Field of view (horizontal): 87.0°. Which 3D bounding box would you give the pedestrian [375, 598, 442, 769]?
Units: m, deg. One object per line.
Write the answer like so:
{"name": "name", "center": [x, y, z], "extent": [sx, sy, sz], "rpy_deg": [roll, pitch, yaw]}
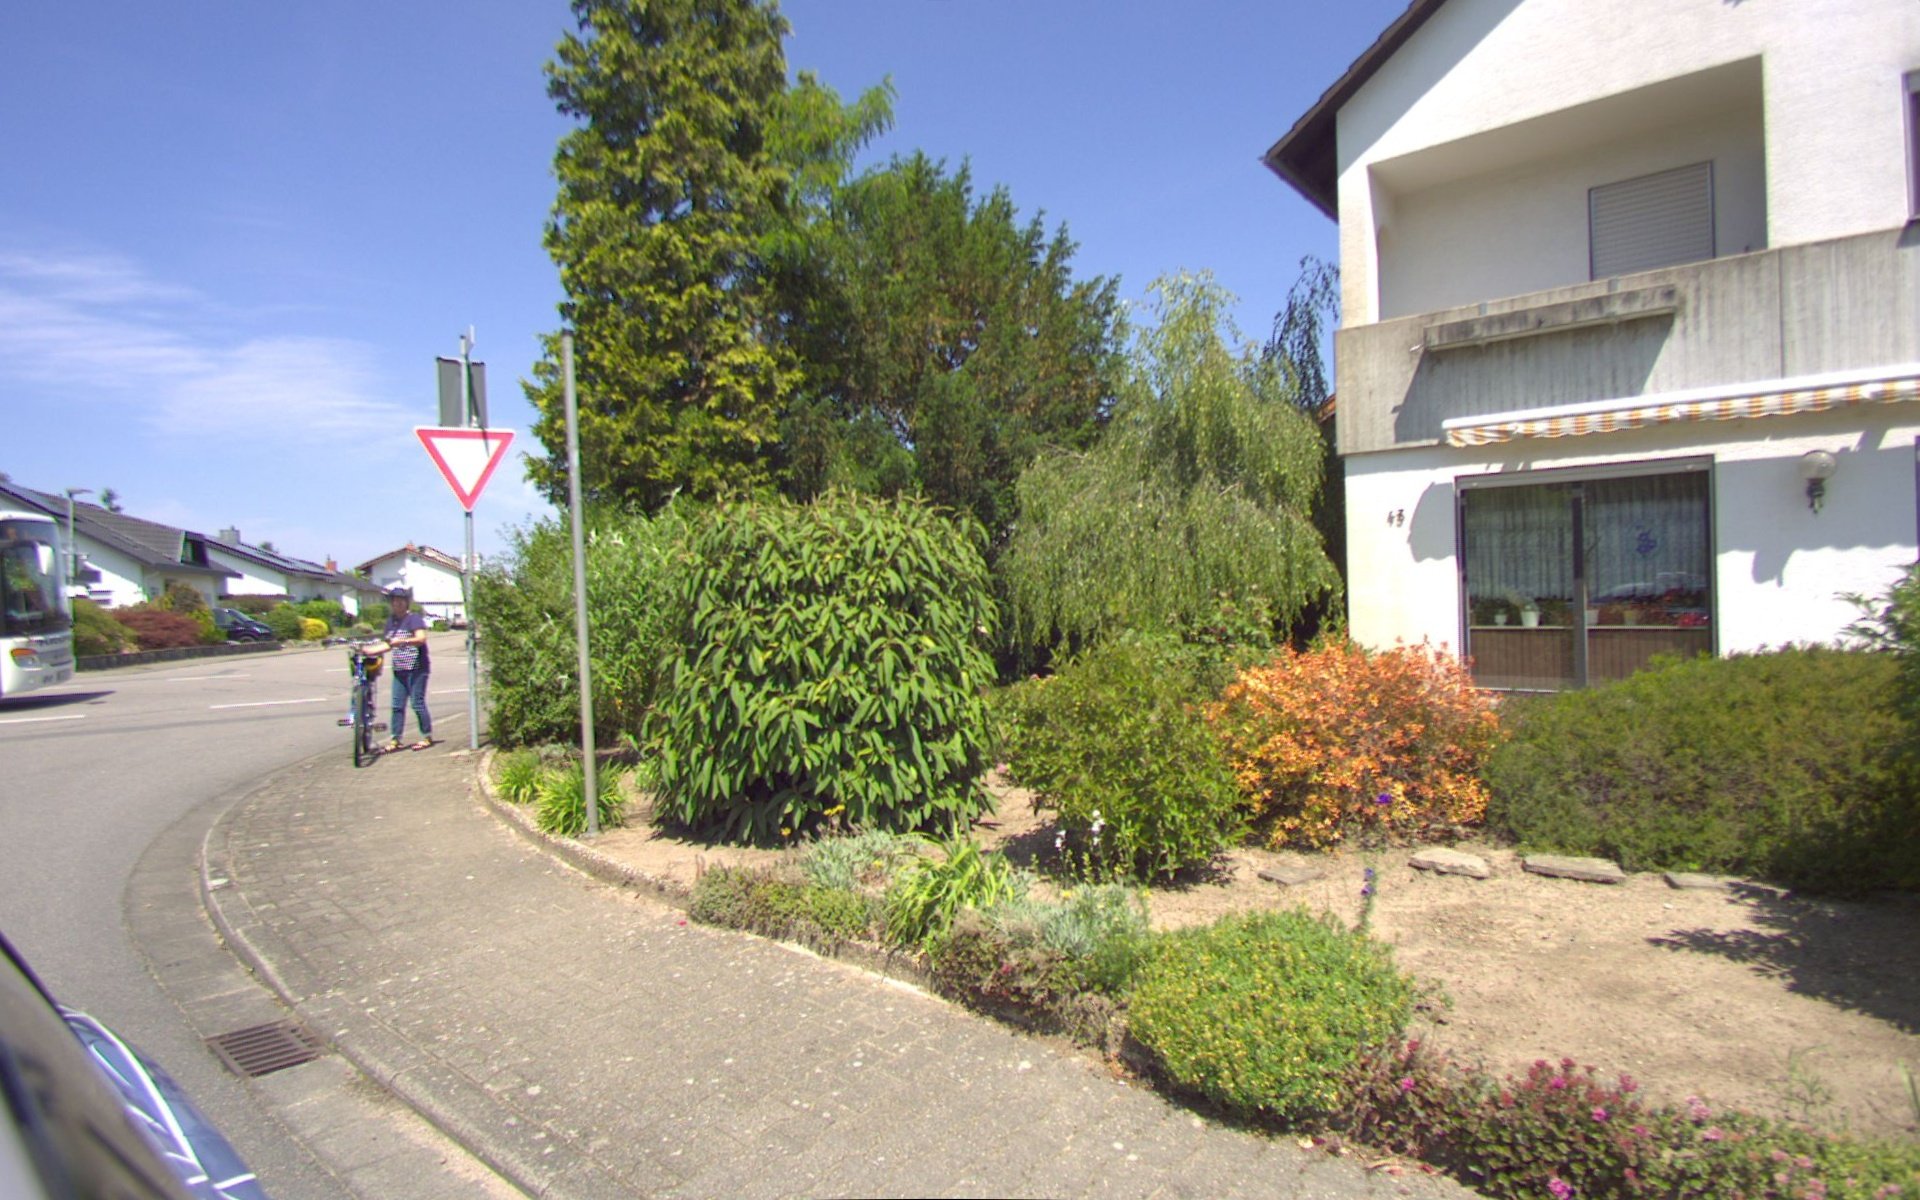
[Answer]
{"name": "pedestrian", "center": [-5.152, 0.752, 9.449], "extent": [0.496, 1.512, 0.614], "rpy_deg": [-2, 0, -30]}

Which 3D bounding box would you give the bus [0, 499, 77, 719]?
{"name": "bus", "center": [-20.476, 0.345, 13.621], "extent": [12.492, 3.269, 3.202], "rpy_deg": [-2, 0, -25]}

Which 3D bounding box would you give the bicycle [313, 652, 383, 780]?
{"name": "bicycle", "center": [-5.521, 0.997, 9.186], "extent": [0.435, 0.971, 1.854], "rpy_deg": [-2, 0, -29]}

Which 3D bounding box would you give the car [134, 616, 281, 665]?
{"name": "car", "center": [-33.367, 1.770, 45.061], "extent": [4.880, 1.929, 1.935], "rpy_deg": [-2, -1, -23]}
